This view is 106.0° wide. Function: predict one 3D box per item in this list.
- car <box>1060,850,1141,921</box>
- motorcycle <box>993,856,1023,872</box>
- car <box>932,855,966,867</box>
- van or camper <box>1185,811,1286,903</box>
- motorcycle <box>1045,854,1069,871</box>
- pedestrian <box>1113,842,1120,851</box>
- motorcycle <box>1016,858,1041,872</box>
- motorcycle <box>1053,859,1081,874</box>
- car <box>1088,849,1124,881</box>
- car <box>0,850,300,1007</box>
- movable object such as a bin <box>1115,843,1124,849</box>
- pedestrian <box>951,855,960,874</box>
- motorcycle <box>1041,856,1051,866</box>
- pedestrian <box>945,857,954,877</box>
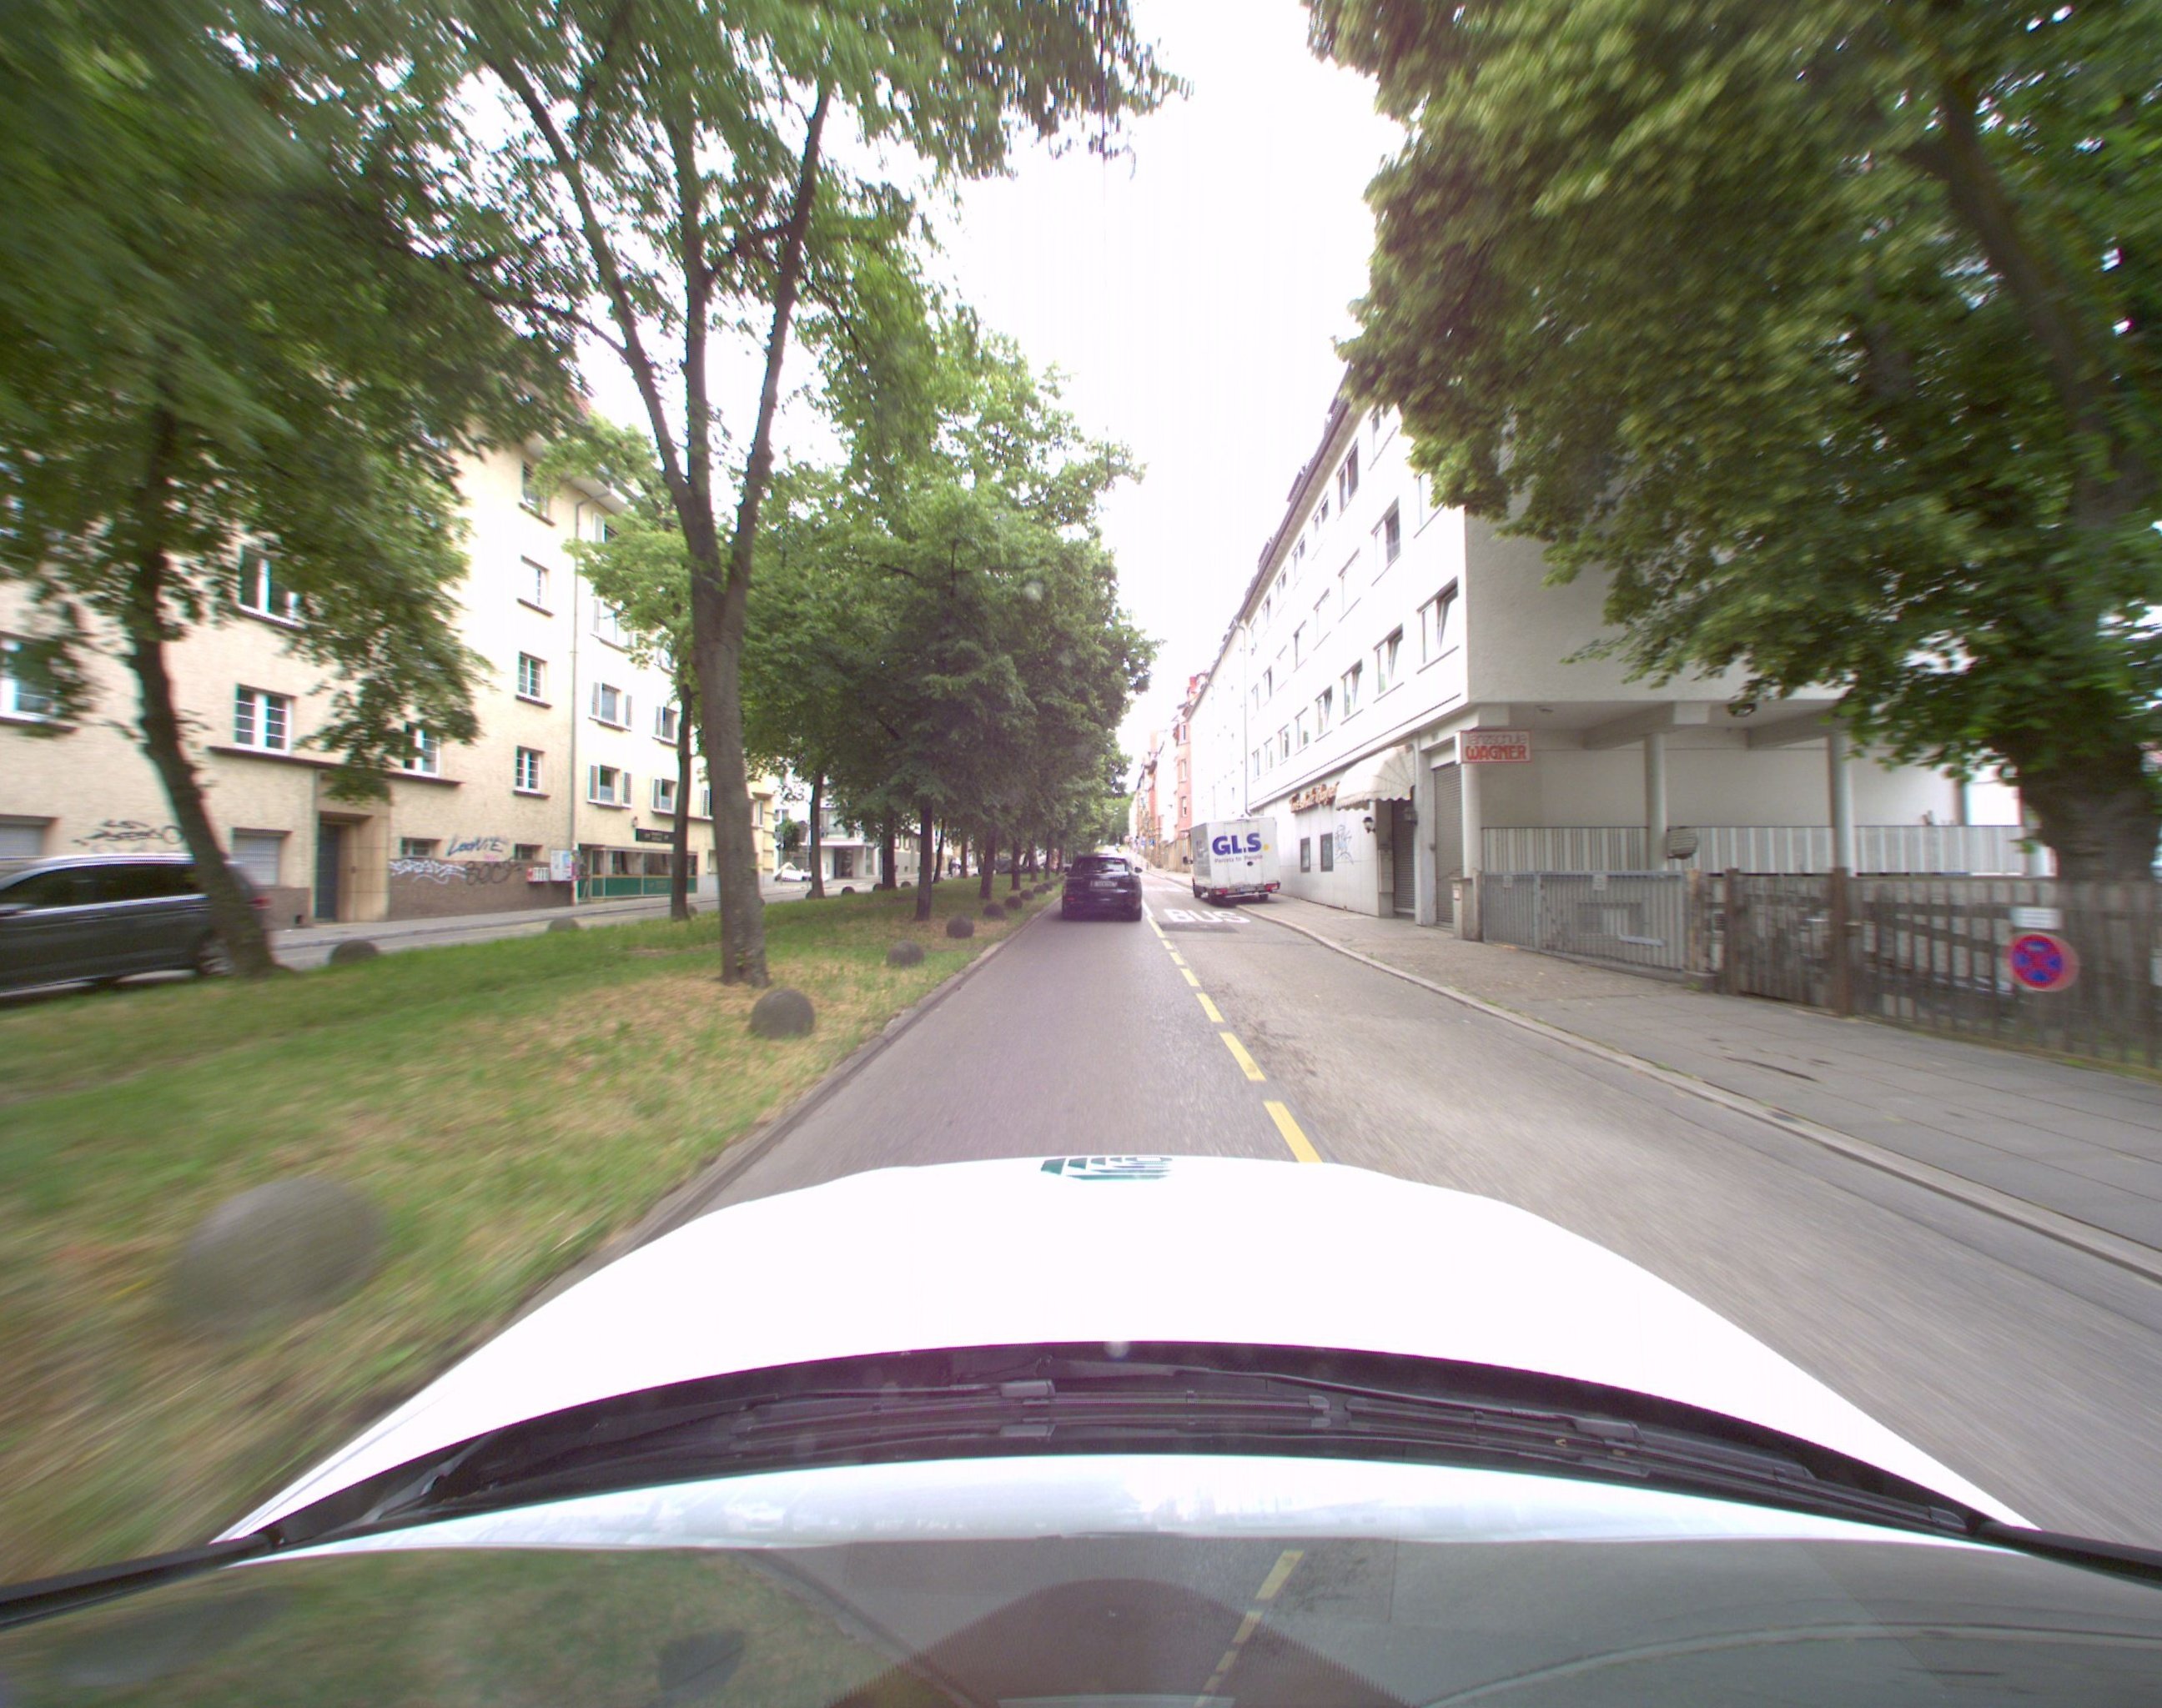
[{"bbox_3d":[0.486,0.739,21.301,1.897,1.666,4.135,0,0,0],"label":"car"},{"bbox_3d":[-5.975,0.820,66.789,2.374,1.317,1.046,0,0,0],"label":"motorcycle"},{"bbox_3d":[-16.966,0.905,104.938,3.972,1.497,2.001,-1,0,1],"label":"car"},{"bbox_3d":[5.292,0.086,29.093,2.470,2.803,7.243,-1,0,3],"label":"van or camper"},{"bbox_3d":[-1.952,0.707,66.747,1.918,1.297,0.893,-1,-2,0],"label":"motorcycle"},{"bbox_3d":[7.890,-1.742,179.810,1.305,2.013,1.013,0,0,-20],"label":"pedestrian"},{"bbox_3d":[-4.510,0.942,69.936,2.018,1.235,0.898,-1,0,7],"label":"motorcycle"},{"bbox_3d":[-1.224,1.064,69.444,2.347,1.235,1.034,0,1,0],"label":"motorcycle"},{"bbox_3d":[1.498,0.600,47.238,1.986,1.753,4.002,0,0,2],"label":"car"},{"bbox_3d":[-12.146,0.814,9.349,1.940,1.628,4.368,-2,0,3],"label":"car"},{"bbox_3d":[8.421,-1.662,178.437,1.242,1.274,1.832,0,0,-23],"label":"movable object such as a bin"},{"bbox_3d":[-10.647,0.869,68.996,0.660,1.616,0.580,0,0,3],"label":"pedestrian"},{"bbox_3d":[-4.011,0.826,93.914,0.897,1.107,2.252,-1,-2,3],"label":"motorcycle"},{"bbox_3d":[-10.974,1.061,67.880,0.632,1.613,0.765,0,0,2],"label":"pedestrian"}]
